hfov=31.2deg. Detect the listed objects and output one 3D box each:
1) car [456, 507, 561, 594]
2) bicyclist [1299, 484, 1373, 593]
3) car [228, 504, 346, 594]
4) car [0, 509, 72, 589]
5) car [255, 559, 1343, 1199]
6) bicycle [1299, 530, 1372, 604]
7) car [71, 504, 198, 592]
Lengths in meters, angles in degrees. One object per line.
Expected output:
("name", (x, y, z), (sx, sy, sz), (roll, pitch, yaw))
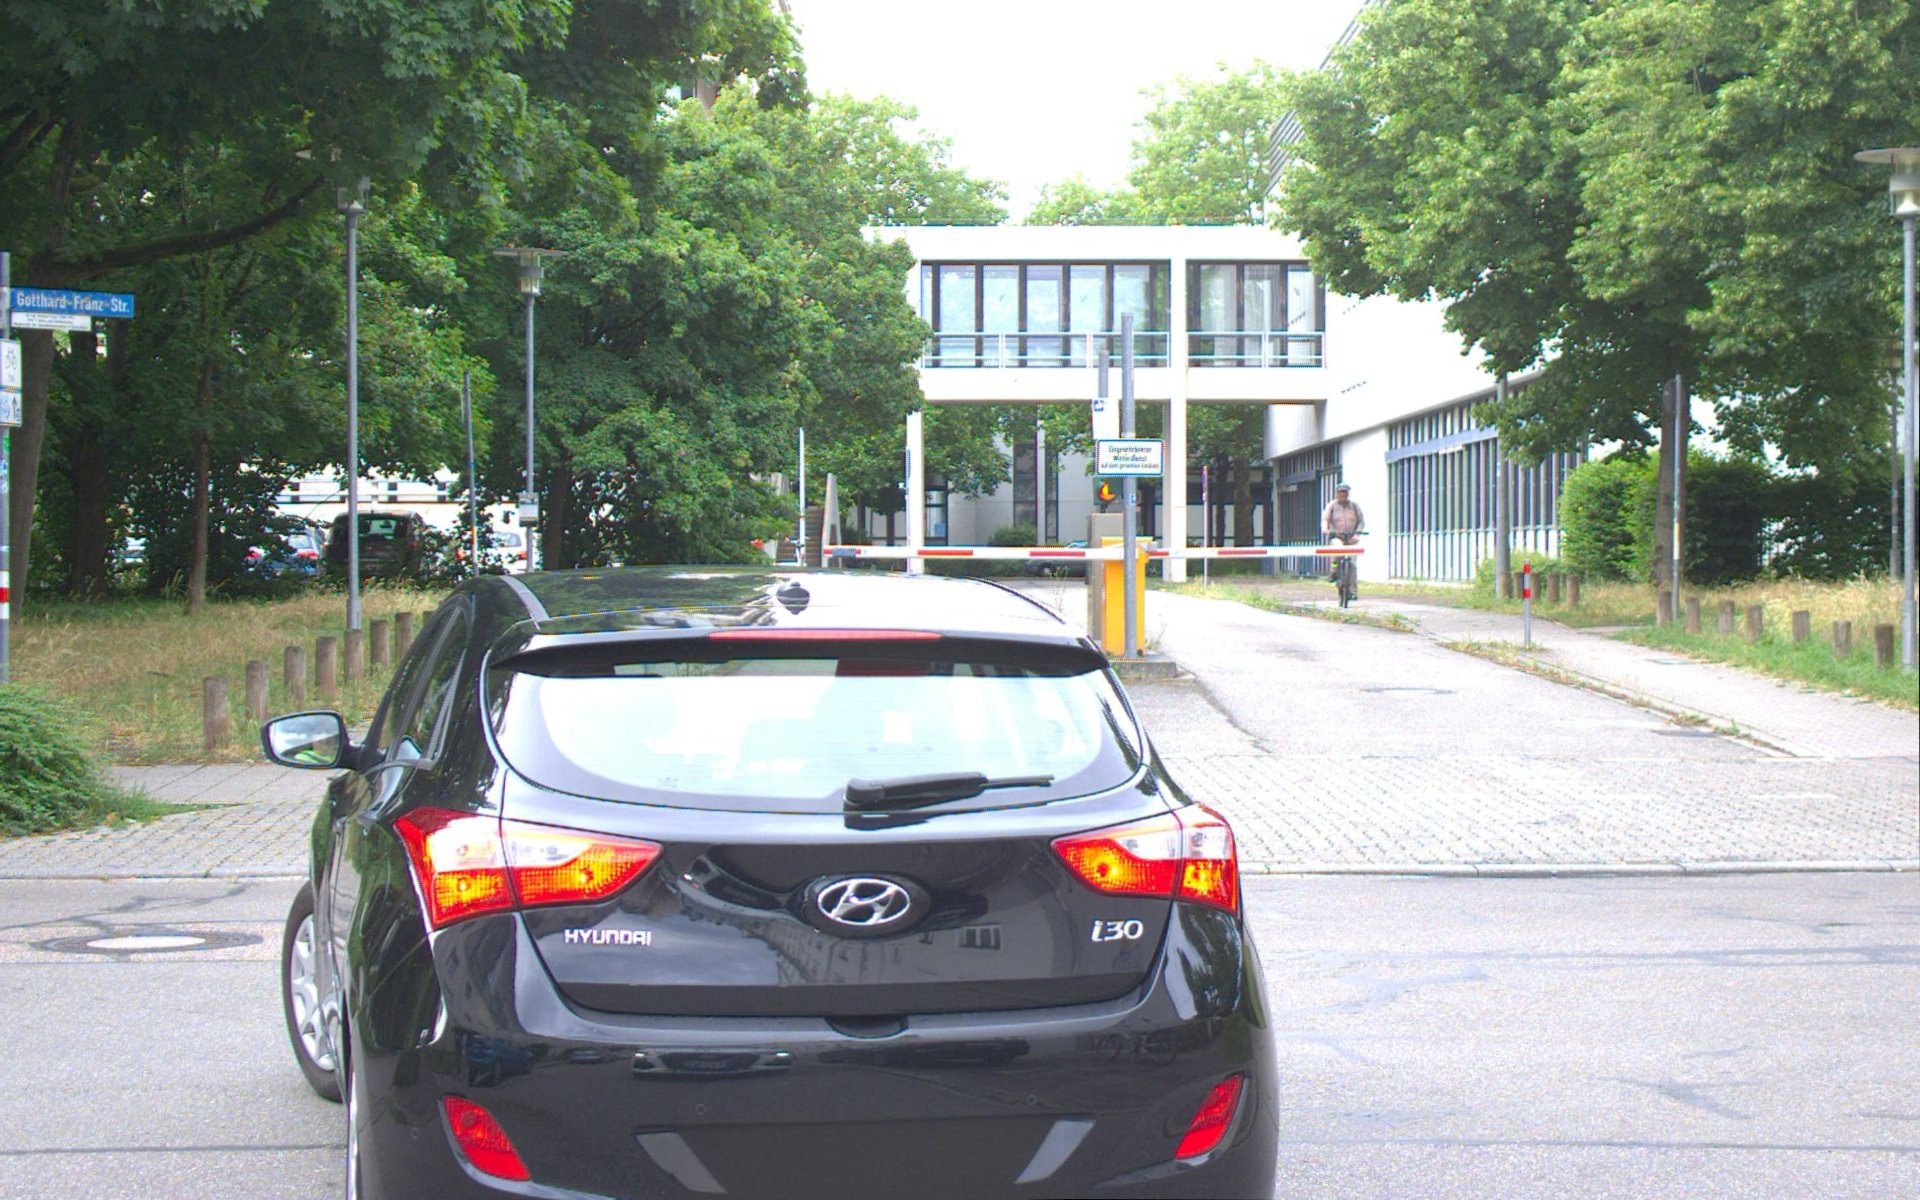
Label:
("car", (-9.420, -1.012, 71.897), (1.993, 1.756, 4.001), (0, 0, -5))
("bicyclist", (5.681, -0.939, 51.990), (1.017, 1.639, 0.923), (0, 1, 0))
("car", (-14.015, -1.039, 71.796), (1.993, 1.788, 4.000), (0, -1, -5))
("car", (-19.838, -1.069, 71.487), (1.993, 1.612, 4.001), (0, 1, -5))
("car", (-0.631, 0.644, 7.784), (1.845, 1.457, 3.829), (0, 1, -12))
("bicycle", (5.663, -0.511, 51.907), (0.866, 1.071, 2.142), (0, 2, 0))
("car", (-17.116, -1.054, 71.441), (1.993, 1.722, 4.000), (0, -1, -5))
